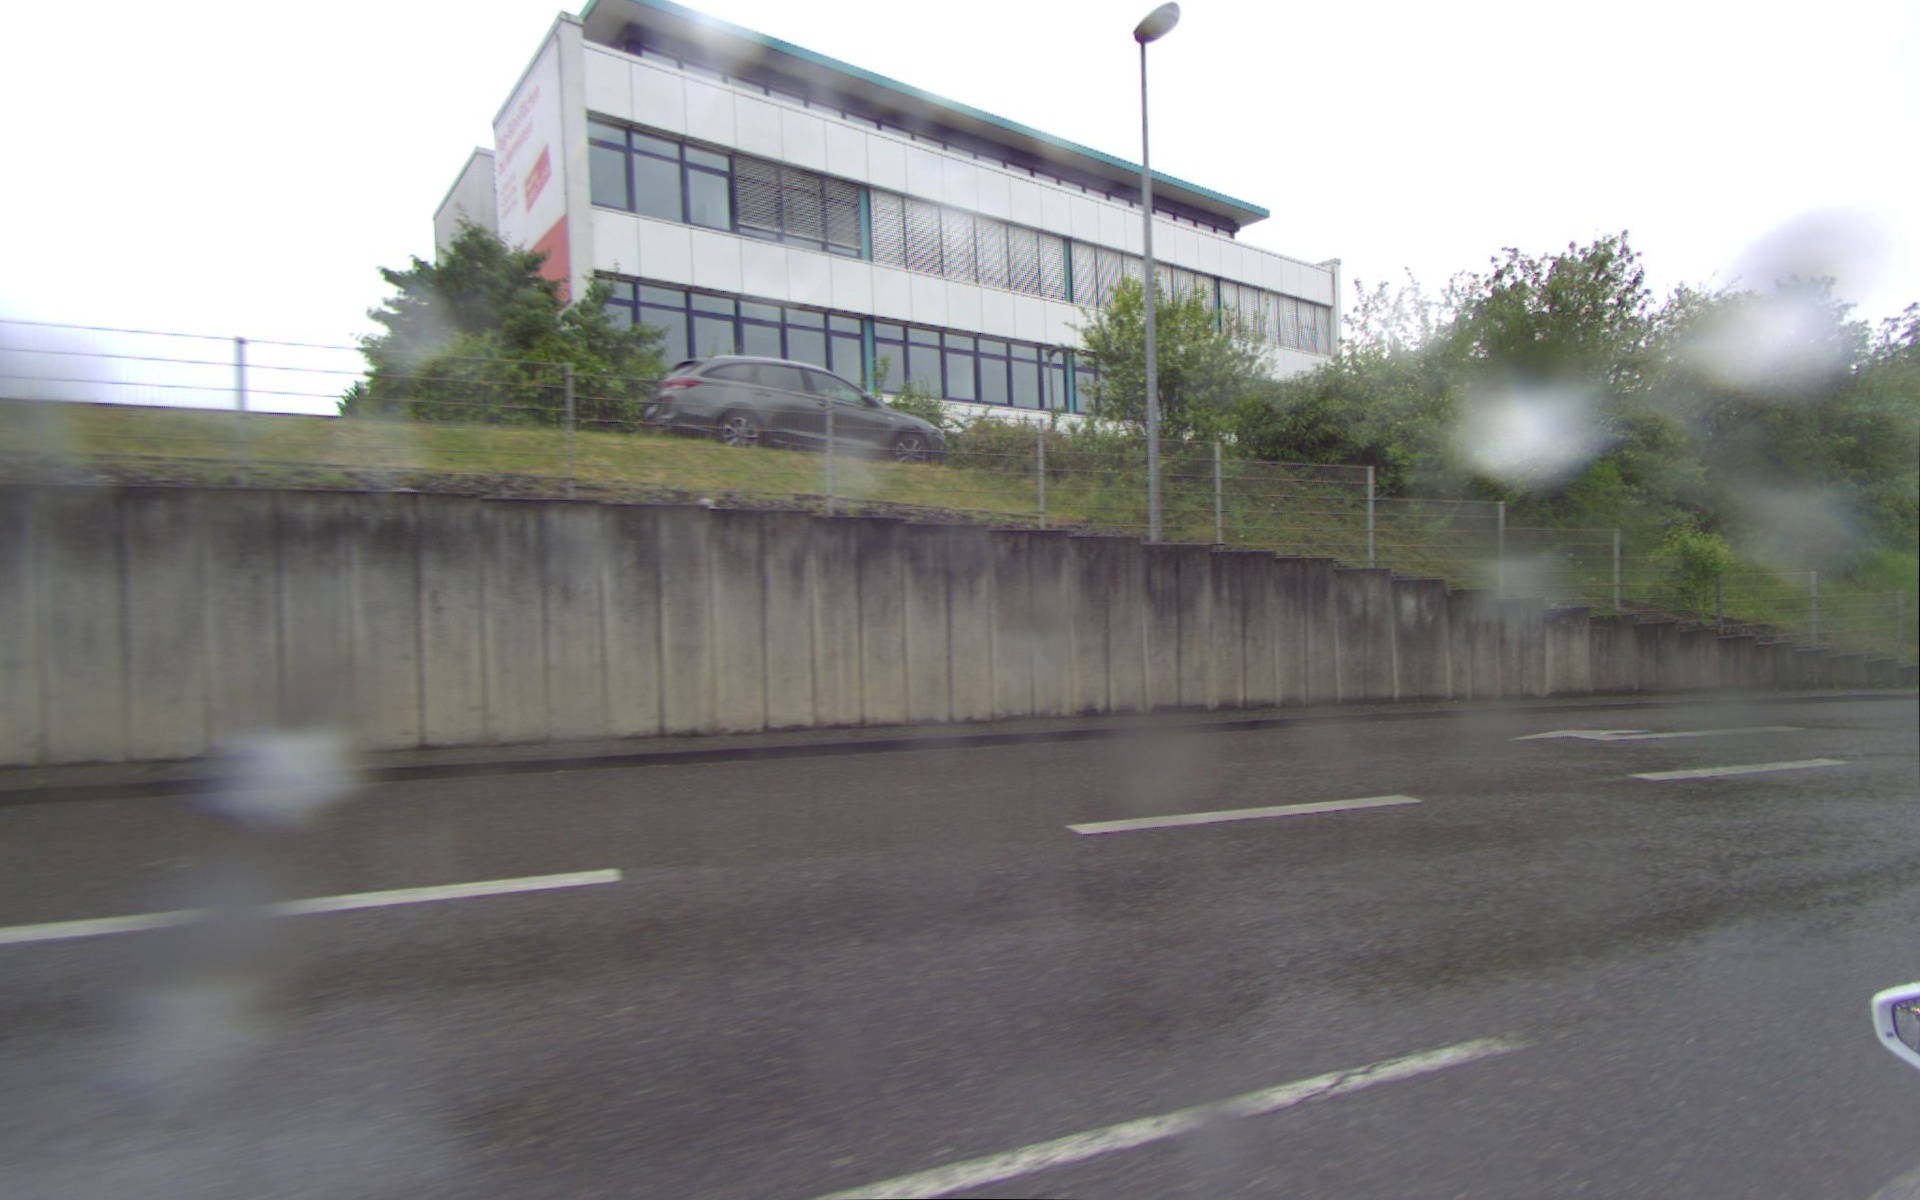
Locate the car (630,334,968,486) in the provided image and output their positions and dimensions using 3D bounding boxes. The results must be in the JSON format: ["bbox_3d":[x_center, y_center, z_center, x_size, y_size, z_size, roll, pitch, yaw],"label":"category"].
[{"bbox_3d":[-2.297,-2.624,14.684,4.481,1.360,1.903,2,0,-31],"label":"car"}]
